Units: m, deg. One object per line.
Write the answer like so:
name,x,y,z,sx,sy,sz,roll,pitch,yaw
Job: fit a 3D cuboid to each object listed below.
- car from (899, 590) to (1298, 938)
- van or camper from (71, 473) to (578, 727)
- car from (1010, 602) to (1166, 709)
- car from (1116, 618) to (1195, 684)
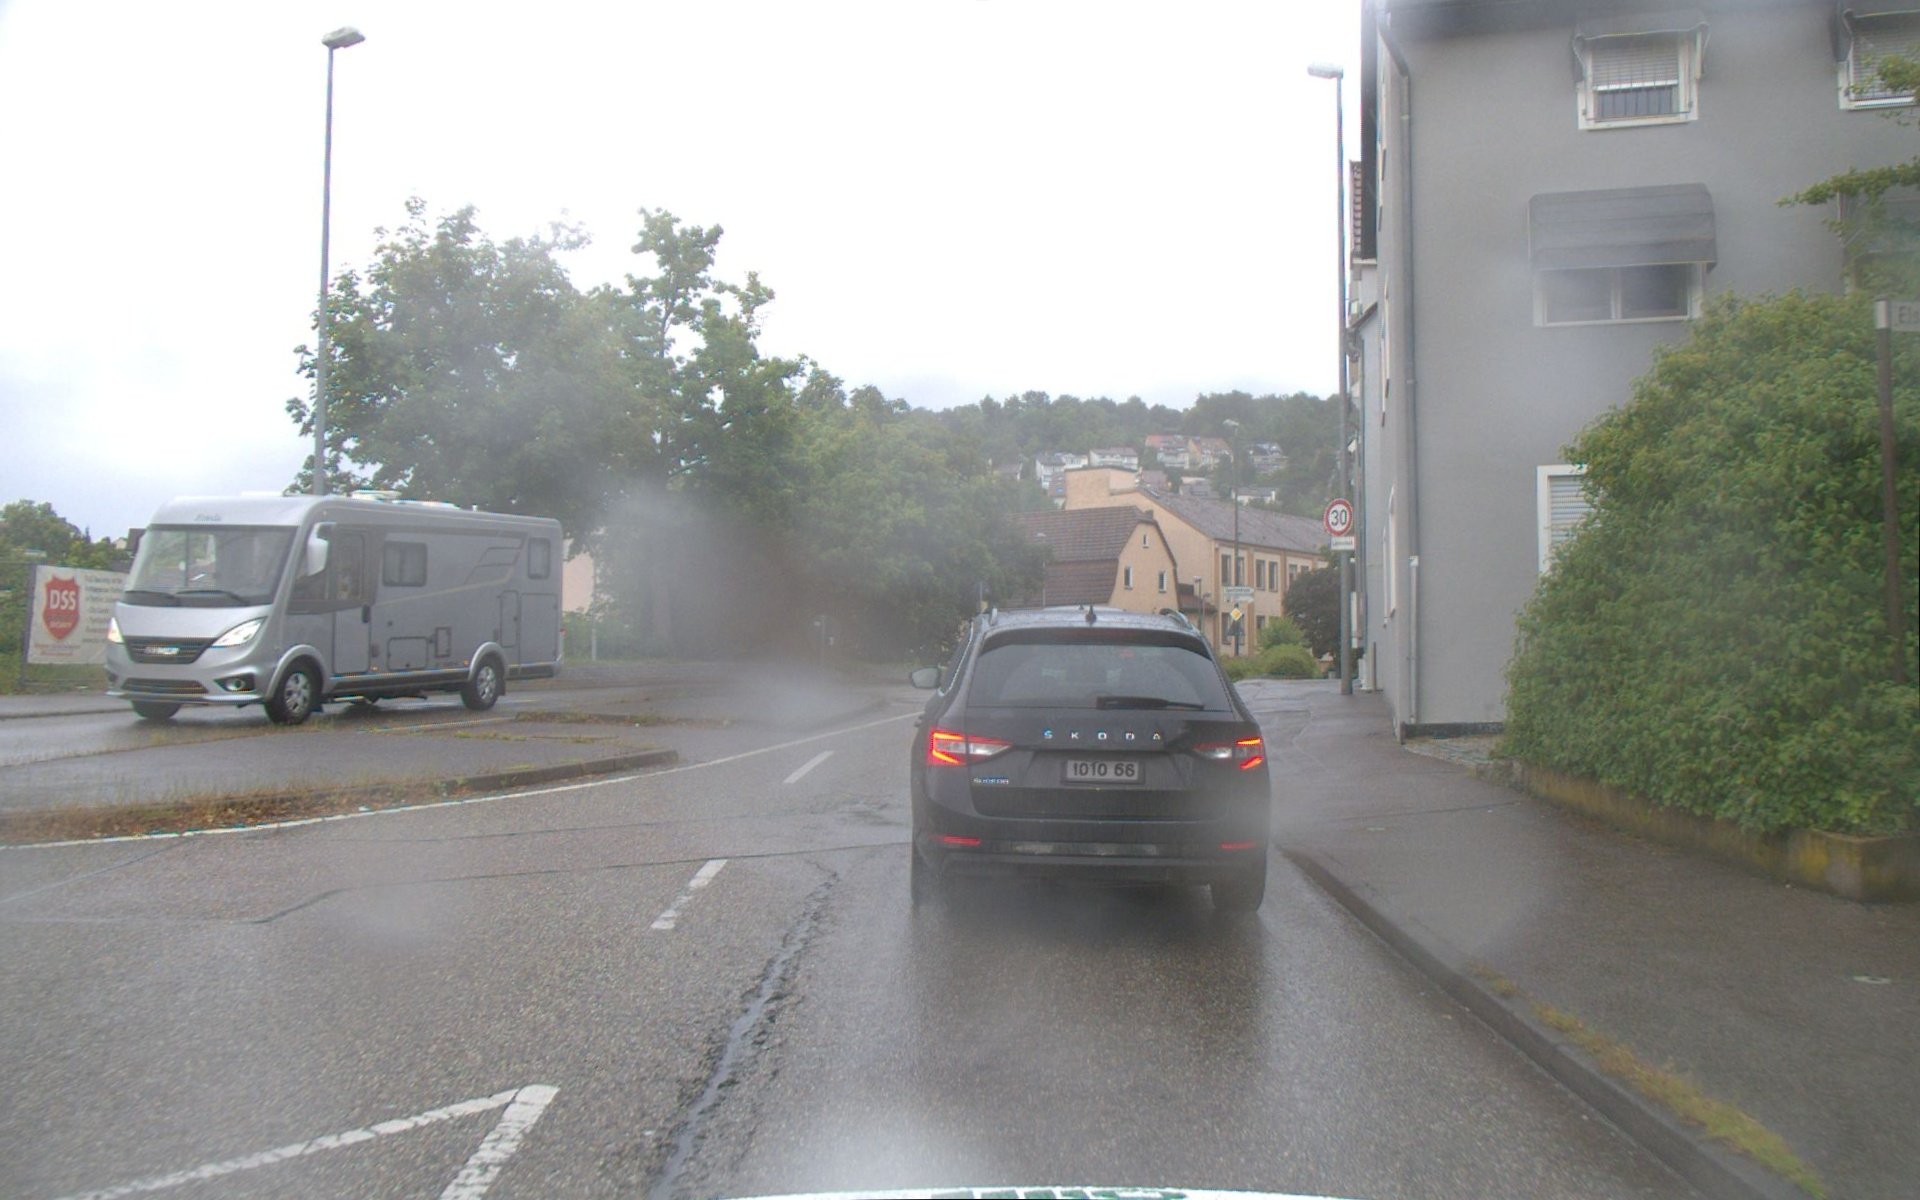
car,0.616,0.739,9.437,1.745,1.509,4.245,1,0,0
van or camper,-7.690,0.038,21.247,2.317,2.703,7.024,0,-1,16
car,1.922,0.855,23.789,1.779,1.384,3.992,-1,-4,11
car,4.684,1.170,39.265,1.617,1.411,3.923,0,0,10
